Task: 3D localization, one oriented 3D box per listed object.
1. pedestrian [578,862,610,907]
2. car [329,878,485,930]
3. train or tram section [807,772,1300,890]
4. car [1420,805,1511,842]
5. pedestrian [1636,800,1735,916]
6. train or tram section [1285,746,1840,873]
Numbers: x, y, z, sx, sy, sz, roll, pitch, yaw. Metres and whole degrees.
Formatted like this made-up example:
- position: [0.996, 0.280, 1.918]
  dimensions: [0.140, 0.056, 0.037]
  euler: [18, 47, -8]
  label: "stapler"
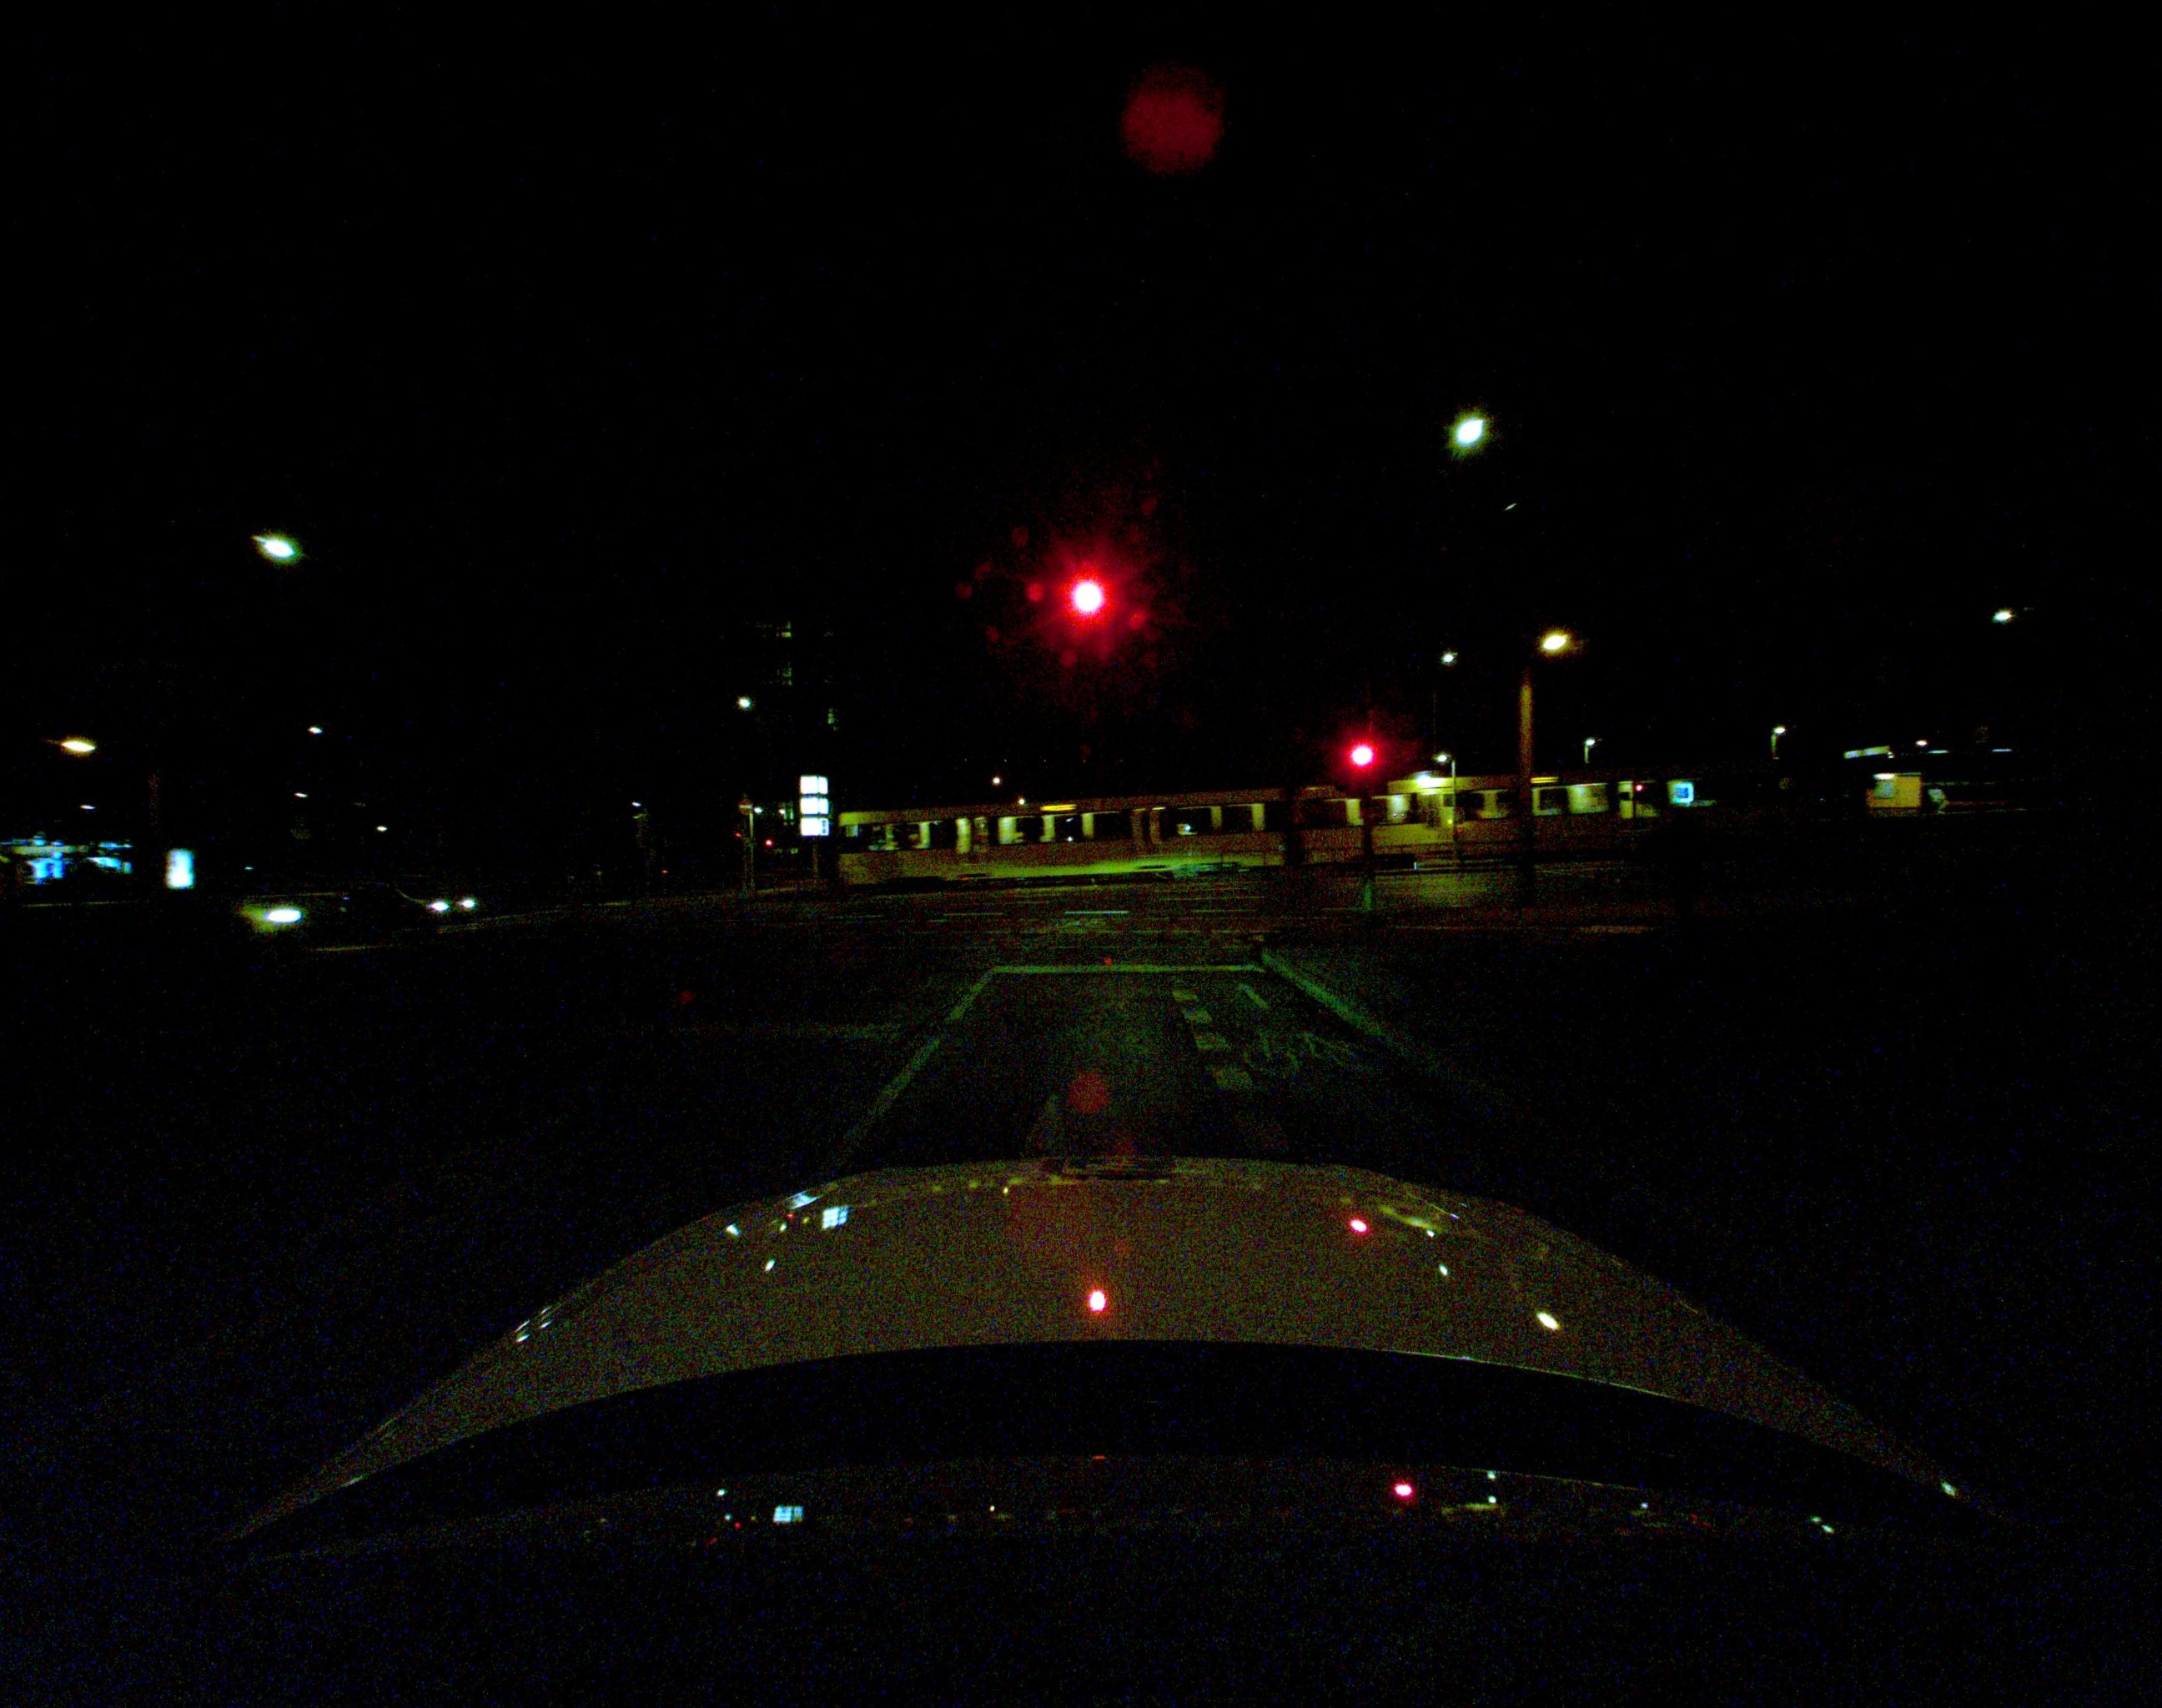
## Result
- position: [-19.533, 1.223, 32.675]
  dimensions: [0.761, 1.737, 0.659]
  euler: [-3, 1, 2]
  label: "pedestrian"
- position: [-22.265, 1.637, 26.987]
  dimensions: [3.741, 1.480, 1.913]
  euler: [-2, 0, 8]
  label: "car"
- position: [-1.227, -0.856, 33.875]
  dimensions: [19.690, 3.861, 2.946]
  euler: [-2, 0, 6]
  label: "train or tram section"
- position: [20.703, -1.617, 43.989]
  dimensions: [4.034, 1.615, 1.874]
  euler: [-4, 0, 9]
  label: "car"
- position: [9.437, 0.061, 12.749]
  dimensions: [0.895, 1.712, 0.776]
  euler: [-4, -1, 6]
  label: "pedestrian"
- position: [17.940, -1.588, 31.794]
  dimensions: [19.074, 3.823, 2.929]
  euler: [-2, 0, 6]
  label: "train or tram section"
